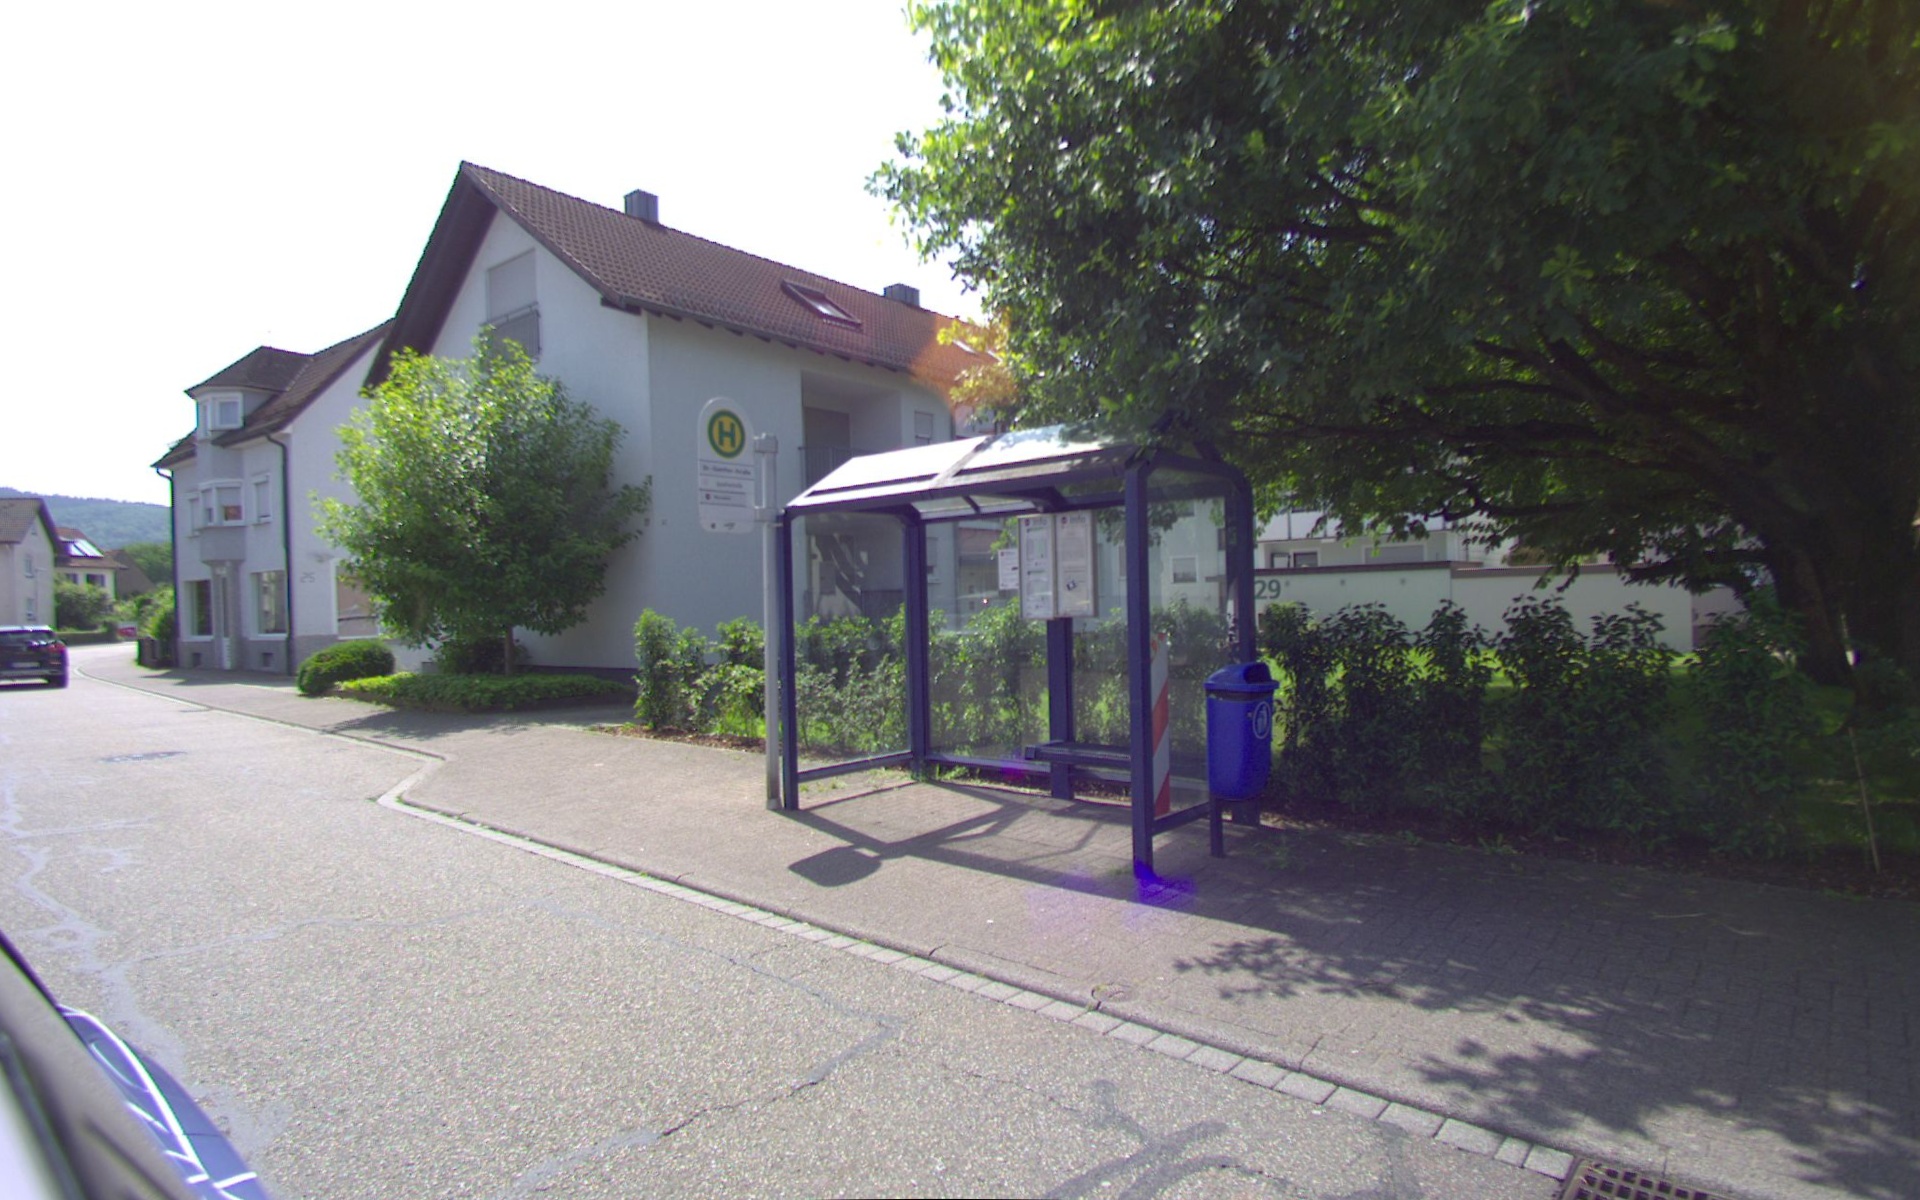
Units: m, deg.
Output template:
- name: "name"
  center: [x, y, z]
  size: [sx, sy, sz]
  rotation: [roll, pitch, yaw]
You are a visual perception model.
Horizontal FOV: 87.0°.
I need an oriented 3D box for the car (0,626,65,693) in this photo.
- name: "car"
  center: [-24.706, 1.524, 26.315]
  size: [4.105, 1.636, 1.756]
  rotation: [-3, -3, 43]
